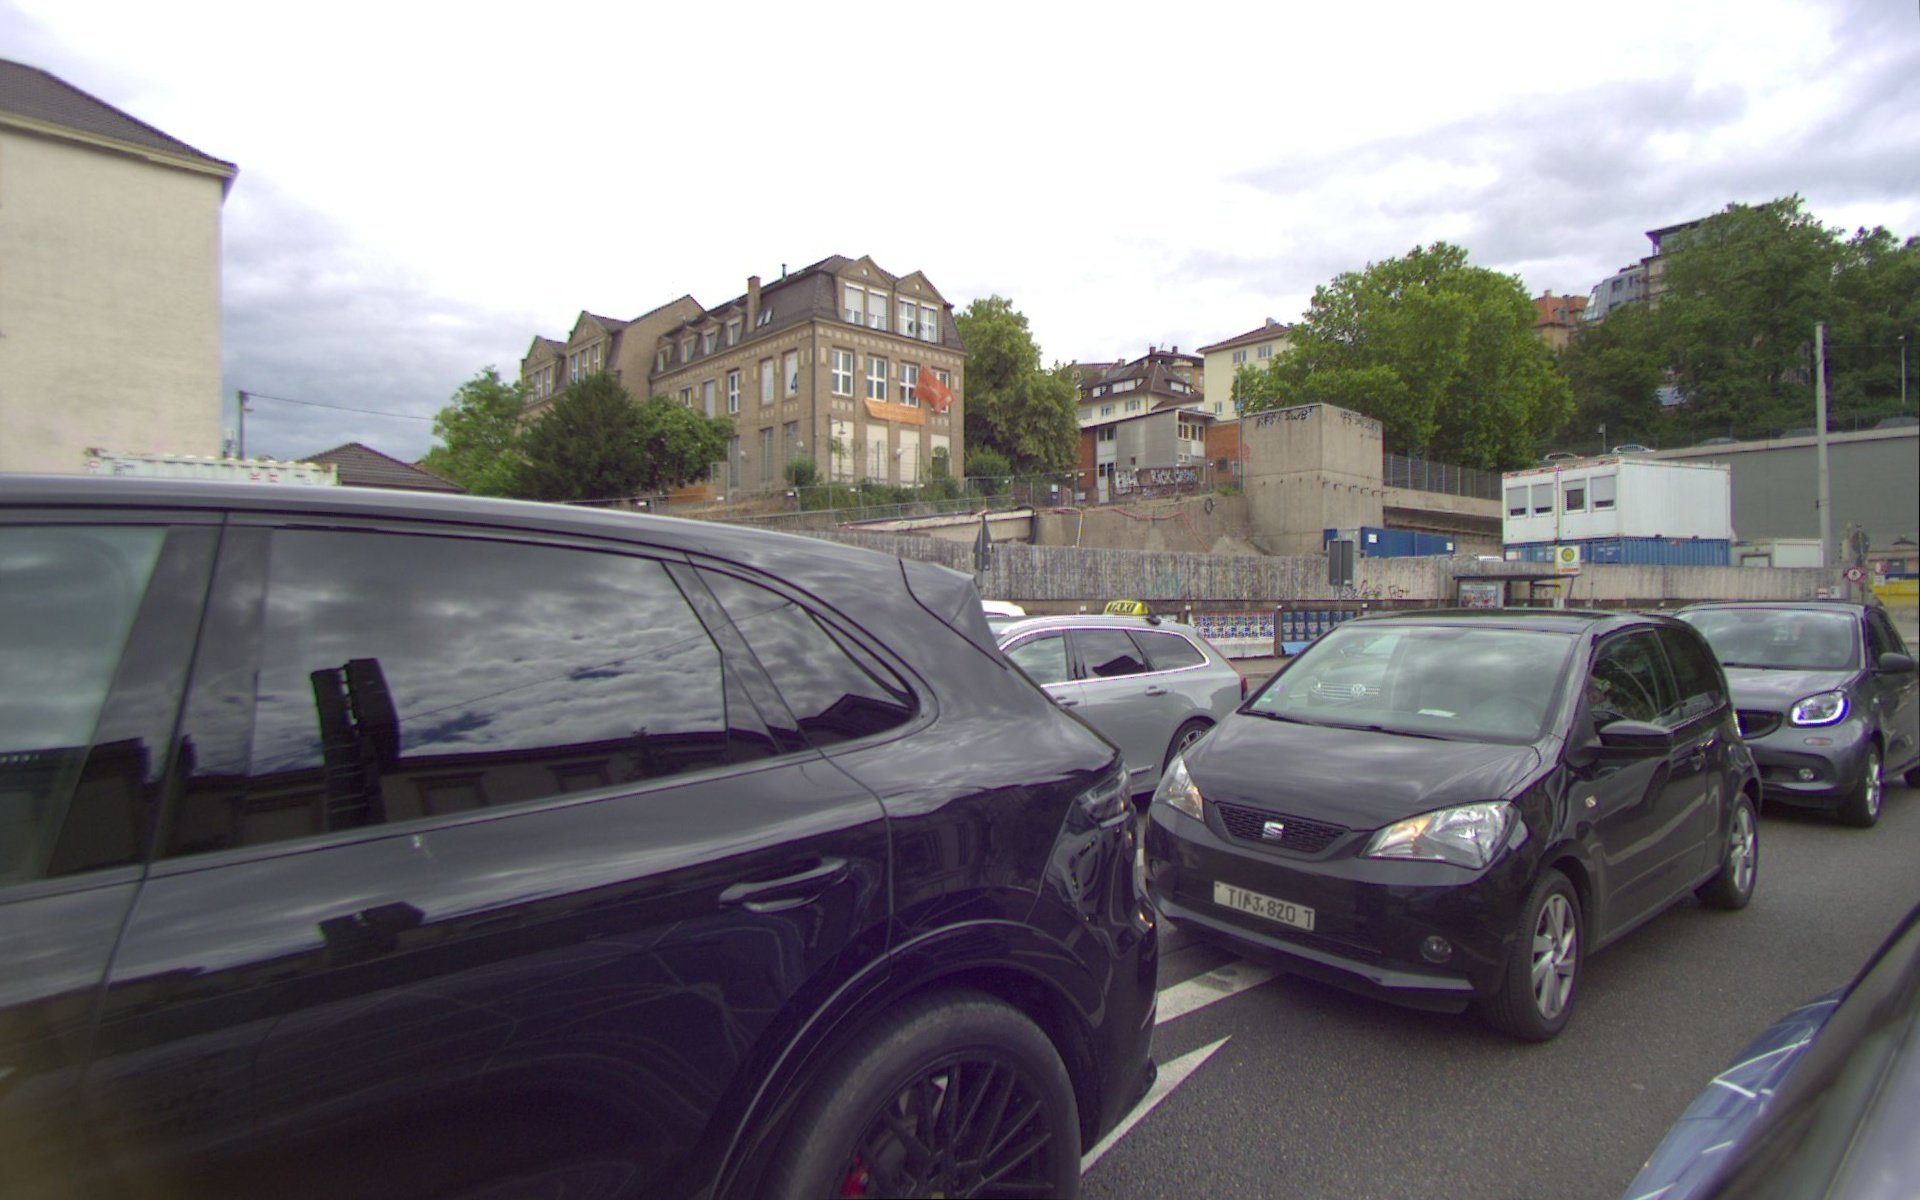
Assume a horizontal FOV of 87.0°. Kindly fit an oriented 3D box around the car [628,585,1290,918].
[{"bbox_3d":[0.272,0.724,7.266,4.725,1.645,1.827,-1,0,-41],"label":"car"}]

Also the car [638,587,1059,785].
[{"bbox_3d":[-1.005,0.700,10.482,4.136,1.645,1.679,-1,0,-41],"label":"car"}]

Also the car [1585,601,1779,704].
[{"bbox_3d":[11.510,0.738,16.059,3.740,1.383,1.679,-1,0,-41],"label":"car"}]

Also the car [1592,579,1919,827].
[{"bbox_3d":[6.711,0.653,8.189,3.511,1.563,1.720,0,0,-40],"label":"car"}]

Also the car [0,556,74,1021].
[{"bbox_3d":[-5.301,0.682,3.043,3.930,1.645,1.679,-1,0,-41],"label":"car"}]

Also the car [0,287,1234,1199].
[{"bbox_3d":[-1.619,0.560,1.604,4.406,1.736,1.827,-1,0,-41],"label":"car"}]

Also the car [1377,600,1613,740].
[{"bbox_3d":[6.475,0.739,12.197,2.667,1.449,1.664,-1,0,-41],"label":"car"}]

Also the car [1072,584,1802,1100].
[{"bbox_3d":[2.439,0.672,4.795,3.636,1.476,1.827,-1,0,-41],"label":"car"}]
